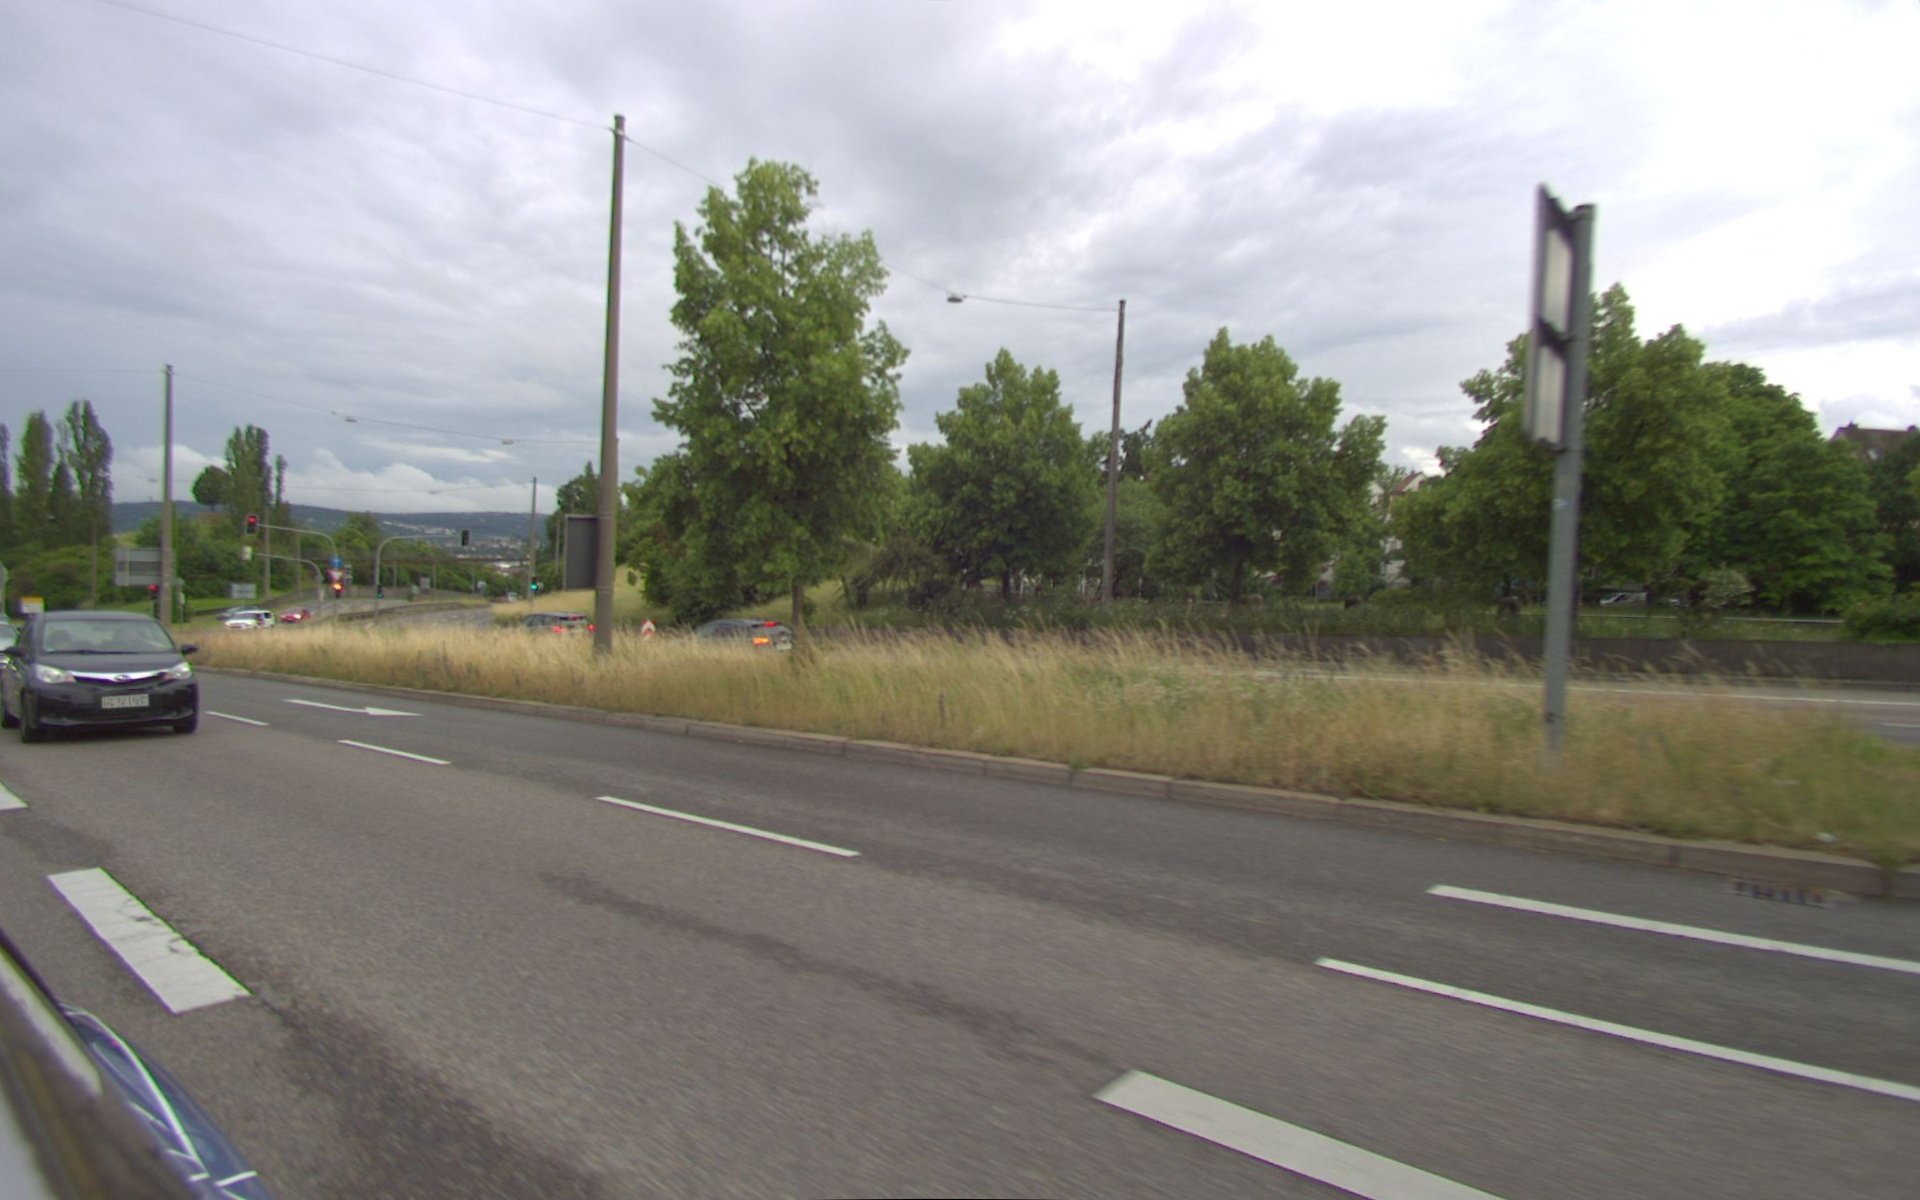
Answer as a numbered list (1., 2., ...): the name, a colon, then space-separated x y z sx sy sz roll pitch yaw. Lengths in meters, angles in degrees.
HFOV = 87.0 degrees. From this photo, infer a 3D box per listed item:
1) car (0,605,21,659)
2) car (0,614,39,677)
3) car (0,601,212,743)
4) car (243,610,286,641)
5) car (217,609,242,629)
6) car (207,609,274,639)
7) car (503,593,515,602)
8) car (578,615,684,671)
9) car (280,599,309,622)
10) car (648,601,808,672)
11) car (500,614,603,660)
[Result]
1. car: -32.872 1.073 33.828 4.025 1.748 1.901 -1 0 43
2. car: -24.819 1.090 25.618 4.527 1.418 1.971 1 -2 45
3. car: -11.342 0.855 13.270 4.043 1.577 1.776 -2 -2 43
4. car: -48.578 1.809 70.779 1.966 2.029 4.012 -3 -1 -28
5. car: -78.193 2.065 108.341 1.967 2.029 4.010 4 -4 -35
6. car: -52.741 1.707 74.275 1.973 2.029 3.998 -3 0 1
7. car: -77.494 -0.460 173.998 1.535 1.443 3.240 -2 1 -18
8. car: -12.936 1.648 39.714 3.993 2.029 1.975 0 -2 37
9. car: -64.806 1.035 98.632 1.966 2.029 4.012 -3 0 -28
10. car: -6.135 0.920 26.620 4.013 1.651 1.975 -1 1 38
11. car: -15.428 1.358 38.197 3.994 1.632 1.844 -1 0 38
